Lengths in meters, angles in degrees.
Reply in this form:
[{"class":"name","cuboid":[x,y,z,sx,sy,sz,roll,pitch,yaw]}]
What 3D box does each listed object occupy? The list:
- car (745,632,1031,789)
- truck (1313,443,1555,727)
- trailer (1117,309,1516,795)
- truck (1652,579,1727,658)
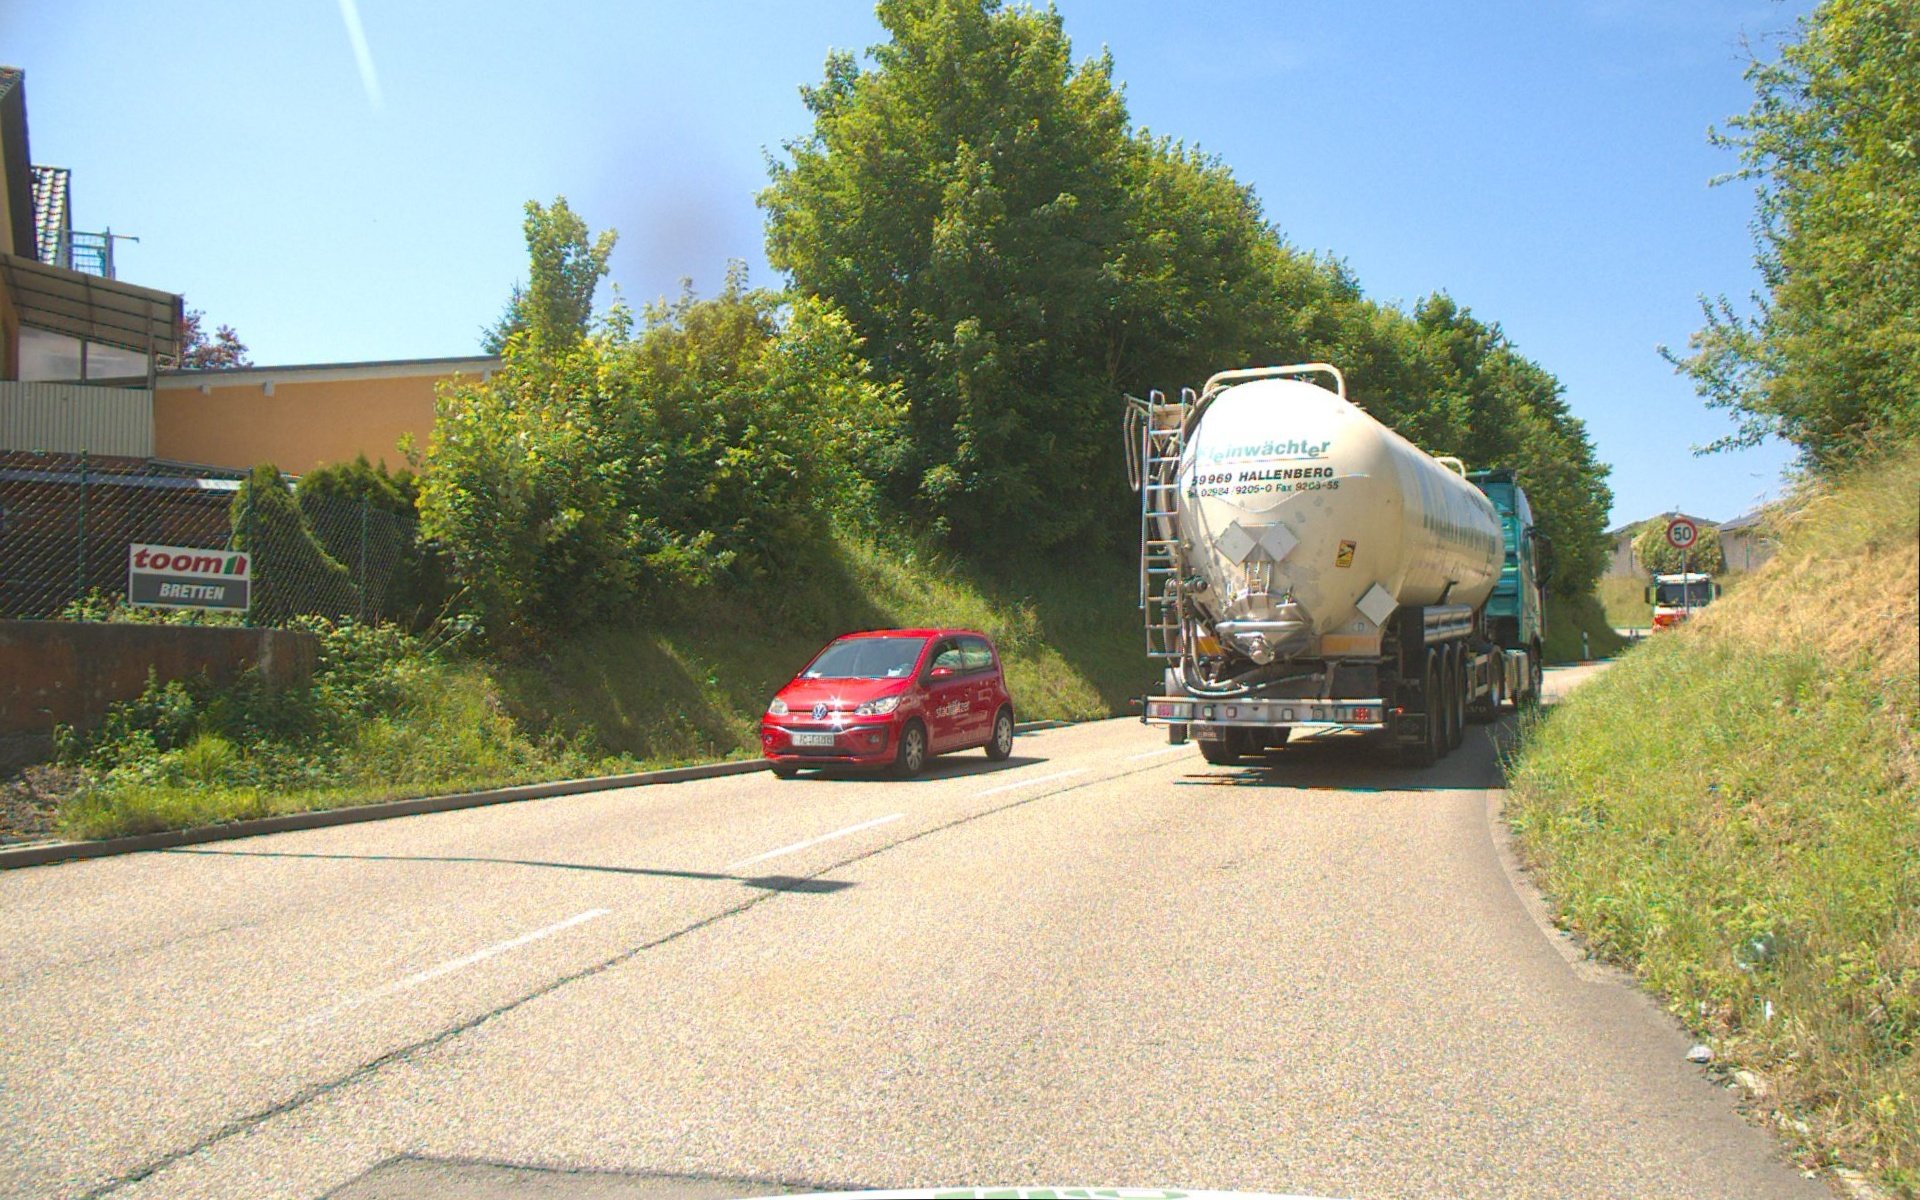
[{"class":"car","cuboid":[-0.658,1.104,17.786,1.622,1.484,3.634,-1,-1,24]},{"class":"truck","cuboid":[7.969,-0.130,27.123,2.673,3.999,7.257,-1,-1,25]},{"class":"trailer","cuboid":[5.005,-0.349,20.480,2.607,4.262,11.900,-2,-1,23]},{"class":"truck","cuboid":[31.603,0.835,71.507,2.574,3.226,7.060,-2,-2,26]}]
